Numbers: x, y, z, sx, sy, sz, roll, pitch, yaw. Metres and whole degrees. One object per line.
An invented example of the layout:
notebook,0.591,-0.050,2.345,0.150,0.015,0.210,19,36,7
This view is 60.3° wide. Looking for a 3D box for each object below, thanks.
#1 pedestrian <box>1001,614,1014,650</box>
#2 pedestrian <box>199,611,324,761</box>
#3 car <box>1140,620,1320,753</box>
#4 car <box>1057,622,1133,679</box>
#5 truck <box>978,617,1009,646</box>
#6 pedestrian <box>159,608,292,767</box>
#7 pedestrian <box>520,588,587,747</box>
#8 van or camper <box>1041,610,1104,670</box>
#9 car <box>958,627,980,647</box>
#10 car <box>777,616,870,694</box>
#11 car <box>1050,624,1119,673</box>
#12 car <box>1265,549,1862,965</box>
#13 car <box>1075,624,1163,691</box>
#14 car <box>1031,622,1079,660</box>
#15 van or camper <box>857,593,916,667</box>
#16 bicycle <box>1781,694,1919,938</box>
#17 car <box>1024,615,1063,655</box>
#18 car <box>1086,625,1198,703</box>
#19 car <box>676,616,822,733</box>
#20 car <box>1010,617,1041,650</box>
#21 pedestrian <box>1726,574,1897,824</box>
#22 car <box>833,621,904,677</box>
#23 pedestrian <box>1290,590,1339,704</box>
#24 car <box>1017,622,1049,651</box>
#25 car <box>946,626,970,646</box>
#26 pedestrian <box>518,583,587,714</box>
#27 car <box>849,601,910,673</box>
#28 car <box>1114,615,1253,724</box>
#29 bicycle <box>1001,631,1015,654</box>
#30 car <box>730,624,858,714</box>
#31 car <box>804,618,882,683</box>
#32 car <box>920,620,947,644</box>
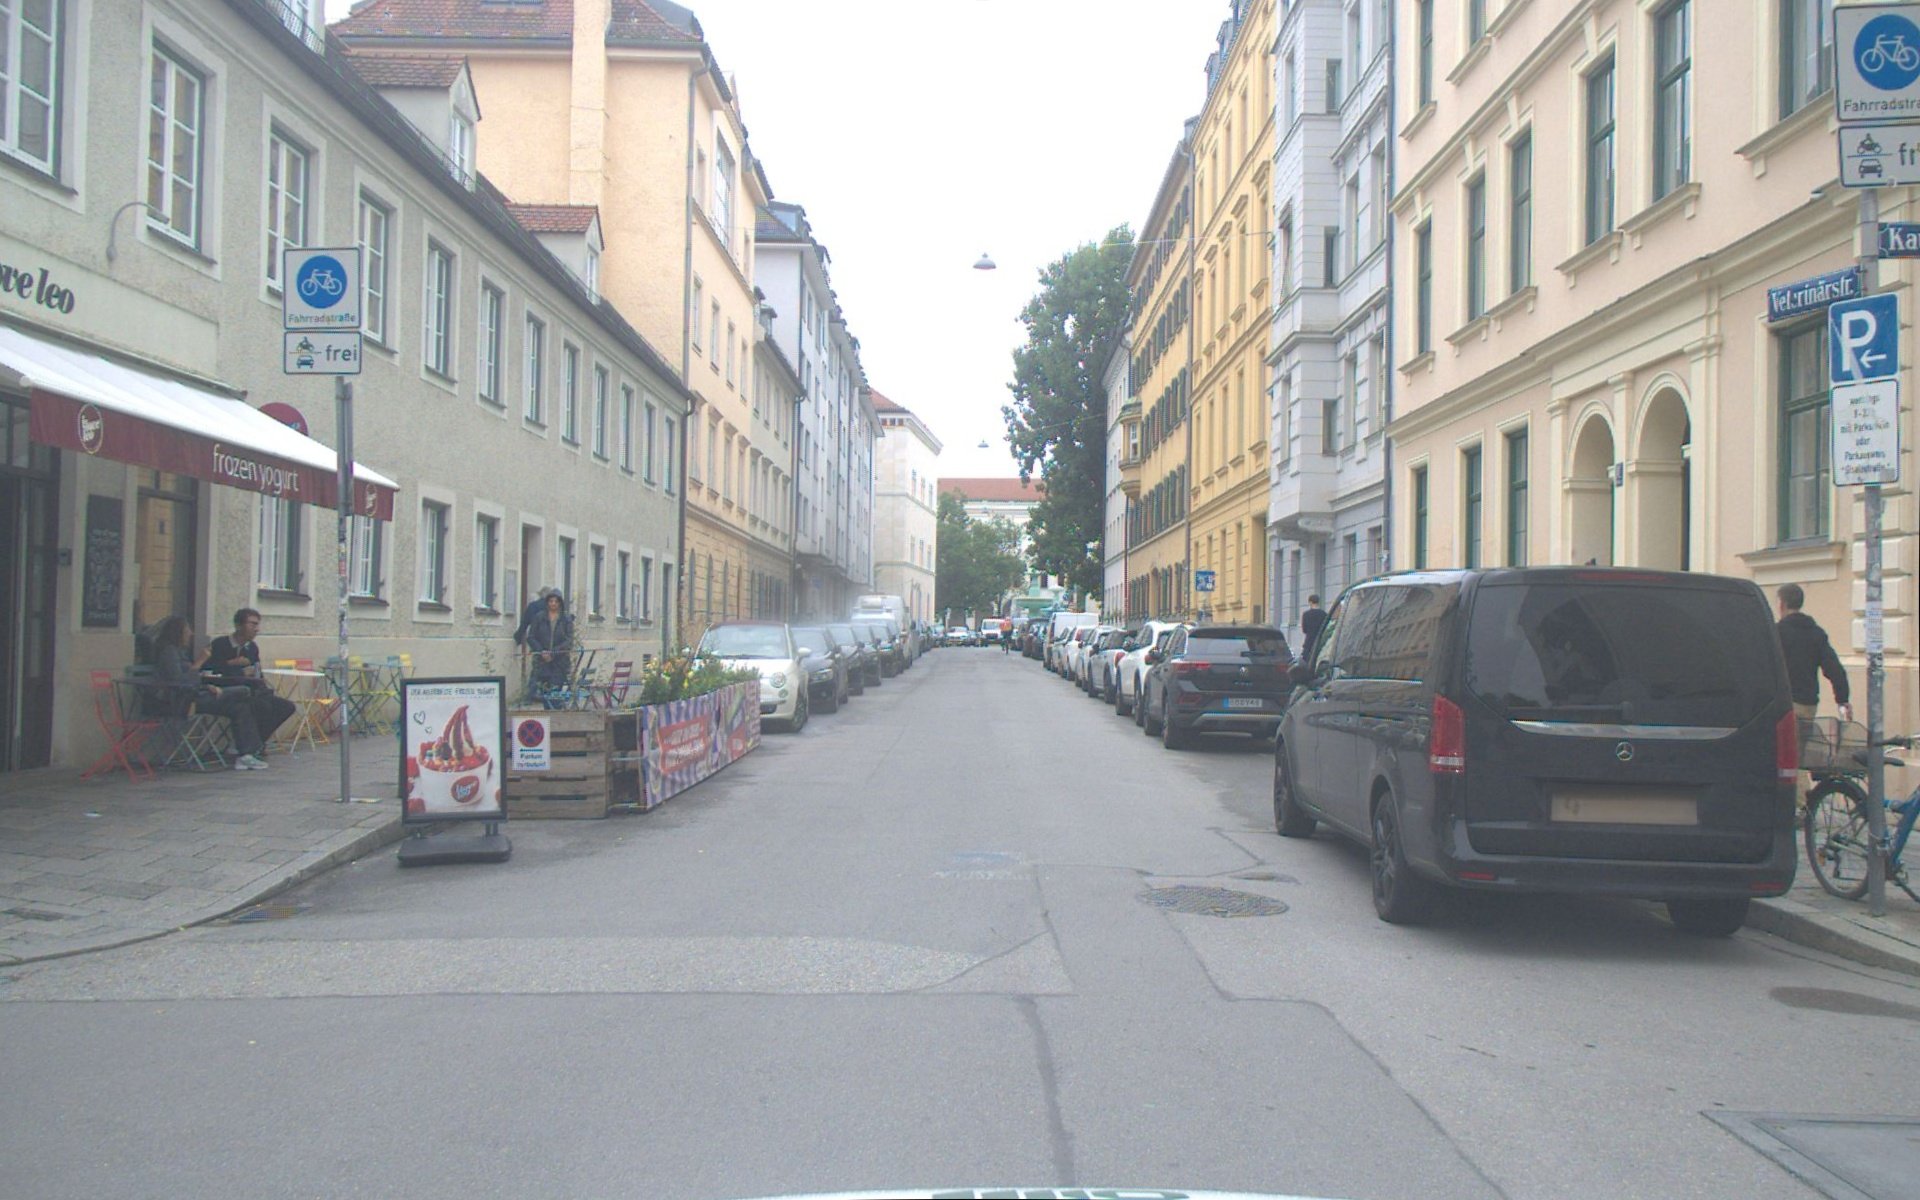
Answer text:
pedestrian,2.315,1.564,80.111,0.629,1.744,0.843,0,-2,1
pedestrian,-6.245,0.764,14.812,0.786,1.313,0.693,0,-2,1
car,3.442,1.070,21.785,1.718,1.548,4.274,1,-1,1
car,3.680,1.377,45.672,1.673,1.480,4.095,1,-1,-1
truck,2.766,2.576,134.219,2.076,2.287,6.188,0,-2,5
pedestrian,-6.243,0.741,14.088,0.786,1.313,0.693,0,-2,1
pedestrian,-4.724,0.783,19.252,0.517,1.813,0.877,0,-2,1
van or camper,3.722,1.322,55.489,1.796,1.905,5.079,1,-1,1
car,0.777,3.084,137.604,1.671,1.609,3.864,0,-1,3
car,-2.811,1.120,34.800,1.719,1.522,4.198,1,-1,-2
car,3.771,1.452,50.533,1.673,1.417,4.205,1,-1,-1
car,3.306,0.762,10.363,1.956,1.897,5.254,1,-1,2
car,3.682,1.316,38.991,1.673,1.433,4.814,1,-1,1
car,3.997,1.712,69.991,1.774,1.490,4.246,2,-1,0
van or camper,-2.413,0.996,55.203,1.719,2.321,5.272,1,-1,0
bicycle,4.941,1.104,8.649,0.455,1.071,1.730,-1,1,1
car,4.099,1.734,81.834,1.774,1.829,4.247,2,-1,1
car,3.599,1.246,33.305,1.673,1.429,4.205,1,-1,-2
car,-2.934,1.009,23.640,1.719,1.501,3.712,2,-1,-2
car,4.017,2.077,102.063,1.813,1.953,4.769,0,-1,1
pedestrian,6.199,0.711,12.097,0.704,1.747,1.003,0,-2,-1
car,-2.440,1.304,44.835,1.719,1.433,4.102,1,-1,-1
pedestrian,6.471,0.859,30.219,0.655,2.015,0.708,-3,-2,1
car,4.218,2.097,96.183,1.774,1.643,4.156,0,-1,1
car,-0.115,2.854,131.479,1.671,1.609,3.864,0,-1,3
pedestrian,-6.084,0.725,24.751,0.806,1.931,0.827,0,-2,-1
car,-2.444,1.102,49.957,1.720,2.030,4.622,1,-1,-3
car,3.562,1.081,27.012,1.707,1.611,4.466,1,-1,1
bicycle,2.315,2.073,80.010,0.661,1.114,1.760,0,-2,1
car,-2.808,1.140,28.872,1.761,1.363,4.684,1,0,0
car,-2.771,1.180,39.819,1.780,1.467,4.129,0,-1,-3
car,-1.842,2.258,117.030,1.671,1.638,3.864,0,-1,3
